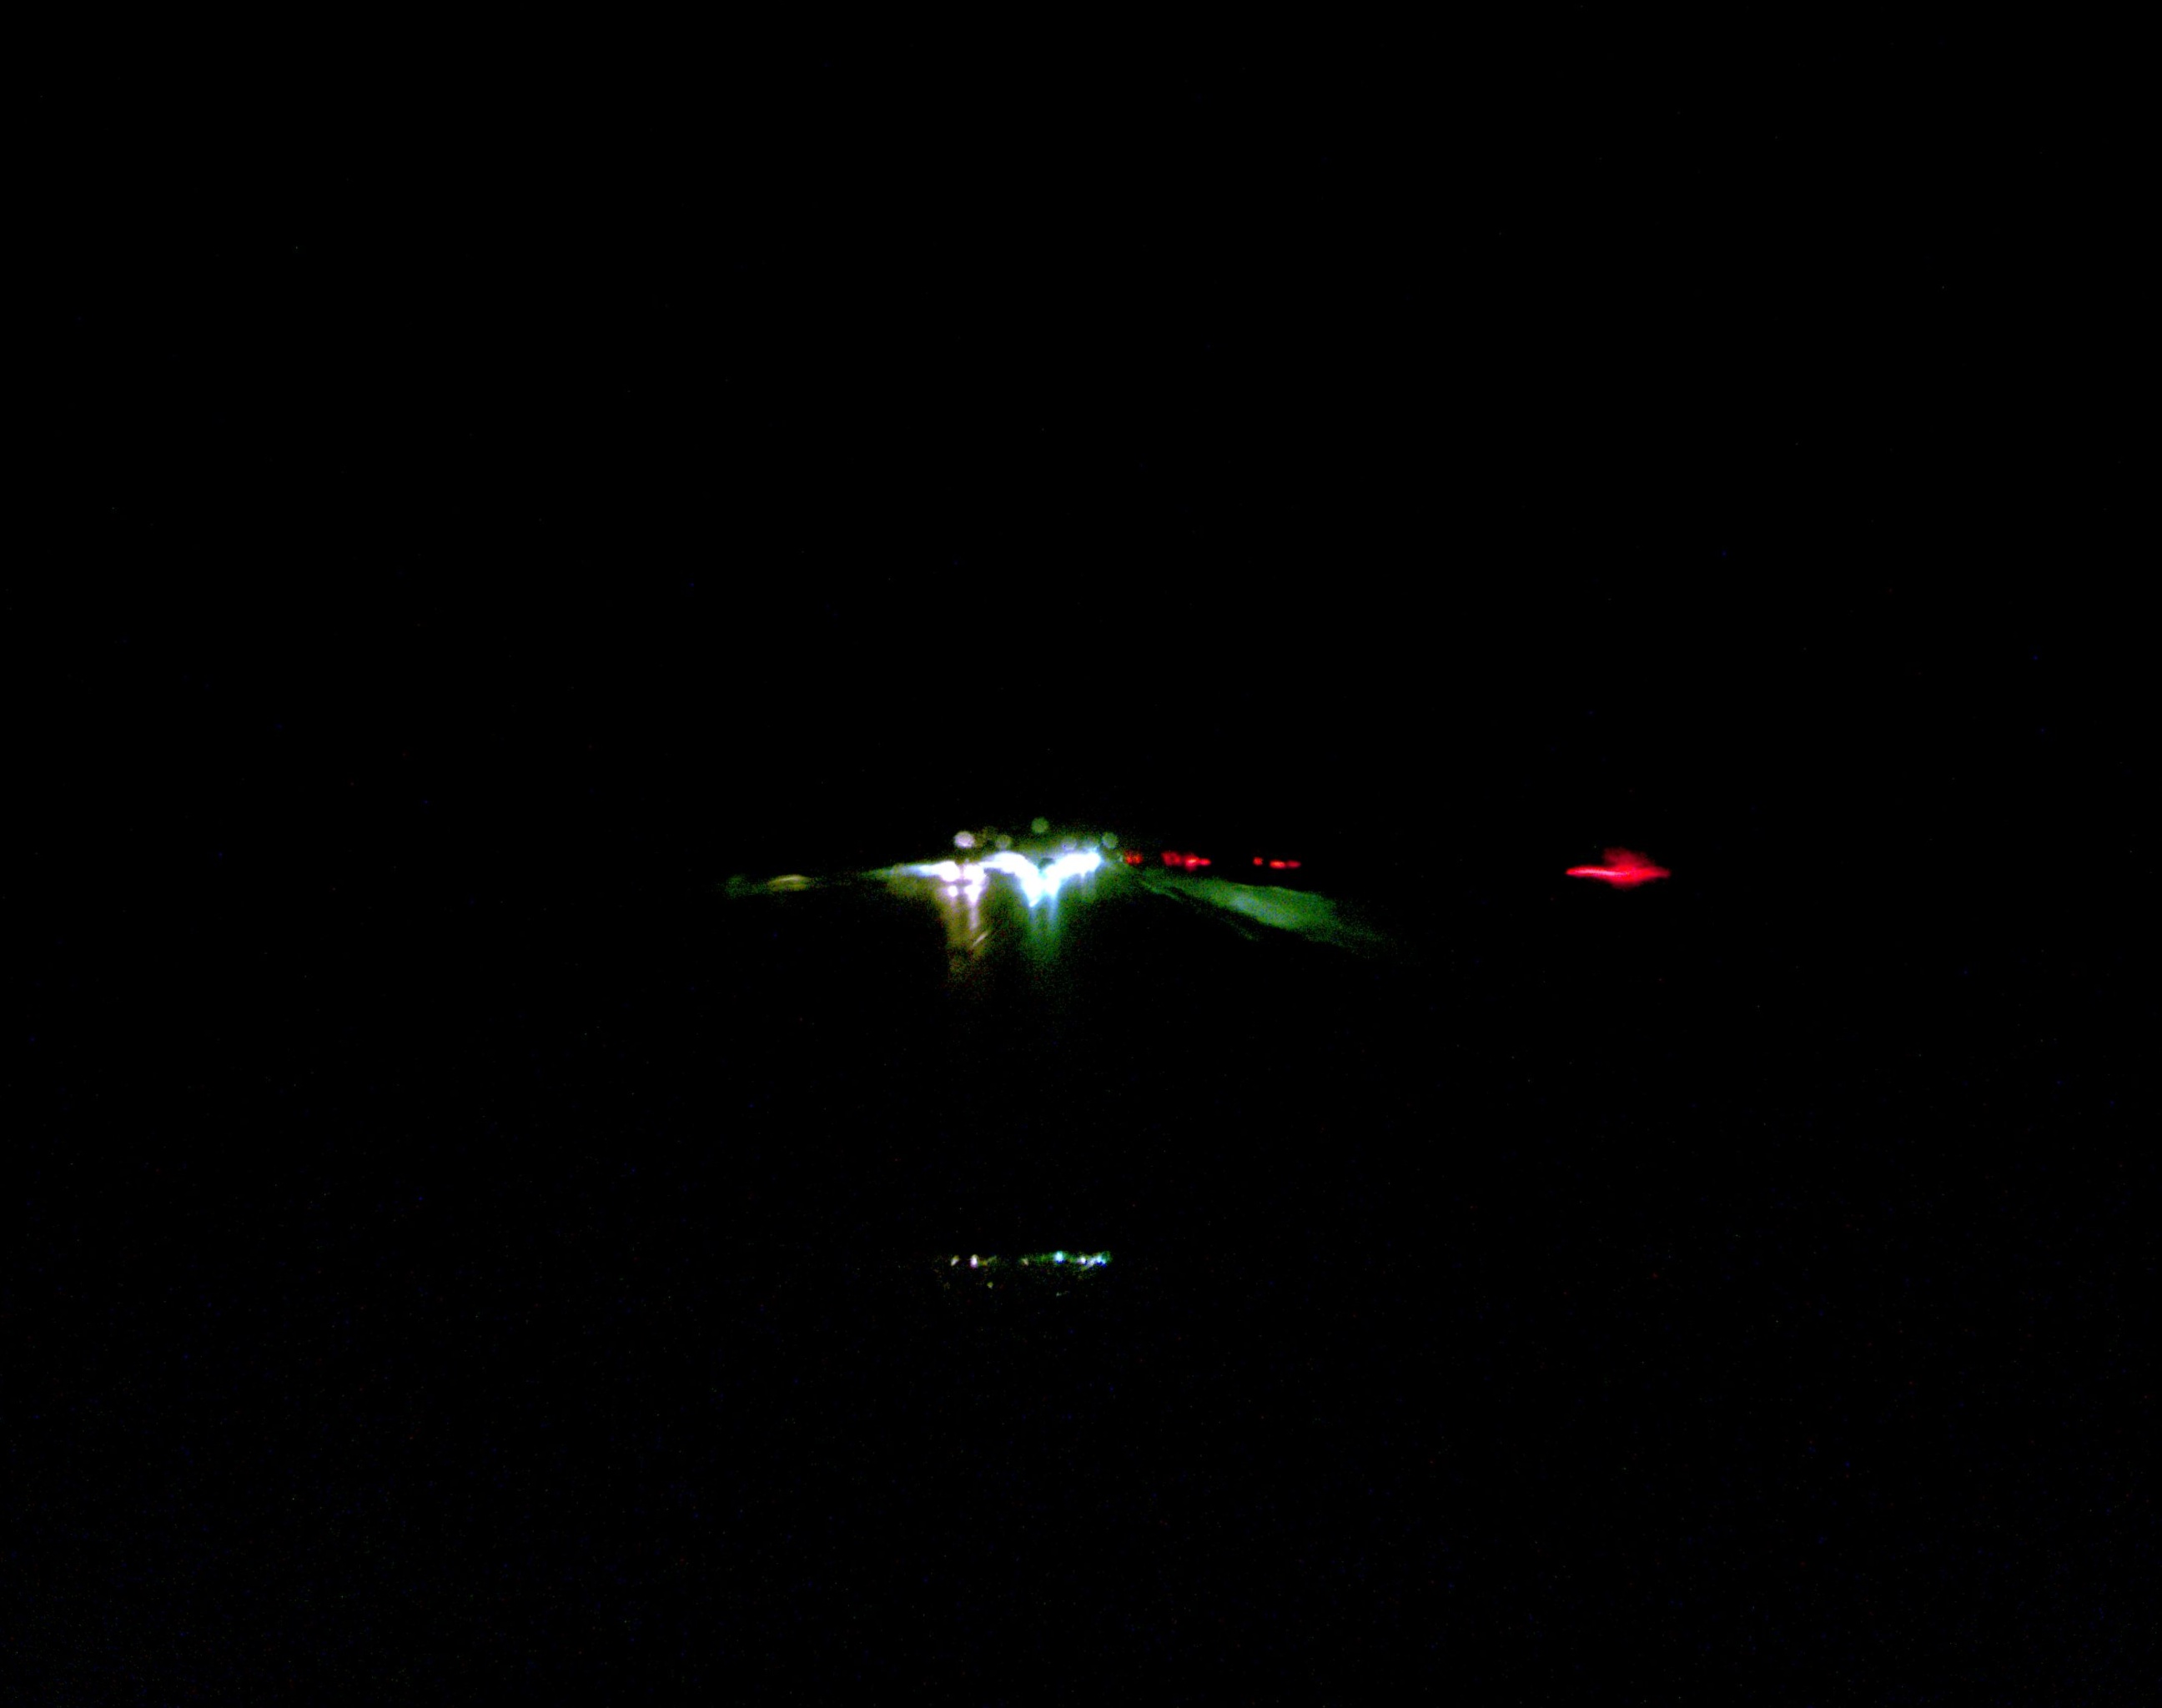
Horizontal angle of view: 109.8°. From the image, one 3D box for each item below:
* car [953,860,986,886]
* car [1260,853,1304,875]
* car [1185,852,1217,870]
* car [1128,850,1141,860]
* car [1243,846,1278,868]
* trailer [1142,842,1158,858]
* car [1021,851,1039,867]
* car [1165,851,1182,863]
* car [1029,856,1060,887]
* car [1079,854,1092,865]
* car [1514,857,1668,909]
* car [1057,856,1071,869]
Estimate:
[{"bbox_3d":[-6.994,1.179,48.054,1.644,1.494,4.012,-1,0,-2],"label":"car"},{"bbox_3d":[13.870,0.690,52.712,1.998,1.432,4.437,0,0,1],"label":"car"},{"bbox_3d":[9.657,0.536,61.503,1.998,1.432,4.437,0,0,1],"label":"car"},{"bbox_3d":[10.111,0.229,143.456,1.999,1.729,3.999,-3,0,-1],"label":"car"},{"bbox_3d":[17.353,0.292,73.617,1.999,2.002,5.359,0,0,-1],"label":"car"},{"bbox_3d":[19.230,-1.158,212.923,2.980,4.243,14.862,-5,0,1],"label":"trailer"},{"bbox_3d":[-6.533,0.656,98.223,1.832,1.835,4.699,-3,-1,0],"label":"car"},{"bbox_3d":[14.131,0.454,116.443,1.998,1.729,5.235,-3,0,1],"label":"car"},{"bbox_3d":[-2.499,1.187,52.645,1.999,2.002,3.999,-2,0,-3],"label":"car"},{"bbox_3d":[0.722,0.919,119.569,1.883,1.653,4.000,-3,-1,-1],"label":"car"},{"bbox_3d":[16.670,0.895,25.168,1.999,1.550,4.533,-1,0,-1],"label":"car"},{"bbox_3d":[-2.370,1.142,105.016,1.883,1.653,4.000,-3,-1,-1],"label":"car"}]
